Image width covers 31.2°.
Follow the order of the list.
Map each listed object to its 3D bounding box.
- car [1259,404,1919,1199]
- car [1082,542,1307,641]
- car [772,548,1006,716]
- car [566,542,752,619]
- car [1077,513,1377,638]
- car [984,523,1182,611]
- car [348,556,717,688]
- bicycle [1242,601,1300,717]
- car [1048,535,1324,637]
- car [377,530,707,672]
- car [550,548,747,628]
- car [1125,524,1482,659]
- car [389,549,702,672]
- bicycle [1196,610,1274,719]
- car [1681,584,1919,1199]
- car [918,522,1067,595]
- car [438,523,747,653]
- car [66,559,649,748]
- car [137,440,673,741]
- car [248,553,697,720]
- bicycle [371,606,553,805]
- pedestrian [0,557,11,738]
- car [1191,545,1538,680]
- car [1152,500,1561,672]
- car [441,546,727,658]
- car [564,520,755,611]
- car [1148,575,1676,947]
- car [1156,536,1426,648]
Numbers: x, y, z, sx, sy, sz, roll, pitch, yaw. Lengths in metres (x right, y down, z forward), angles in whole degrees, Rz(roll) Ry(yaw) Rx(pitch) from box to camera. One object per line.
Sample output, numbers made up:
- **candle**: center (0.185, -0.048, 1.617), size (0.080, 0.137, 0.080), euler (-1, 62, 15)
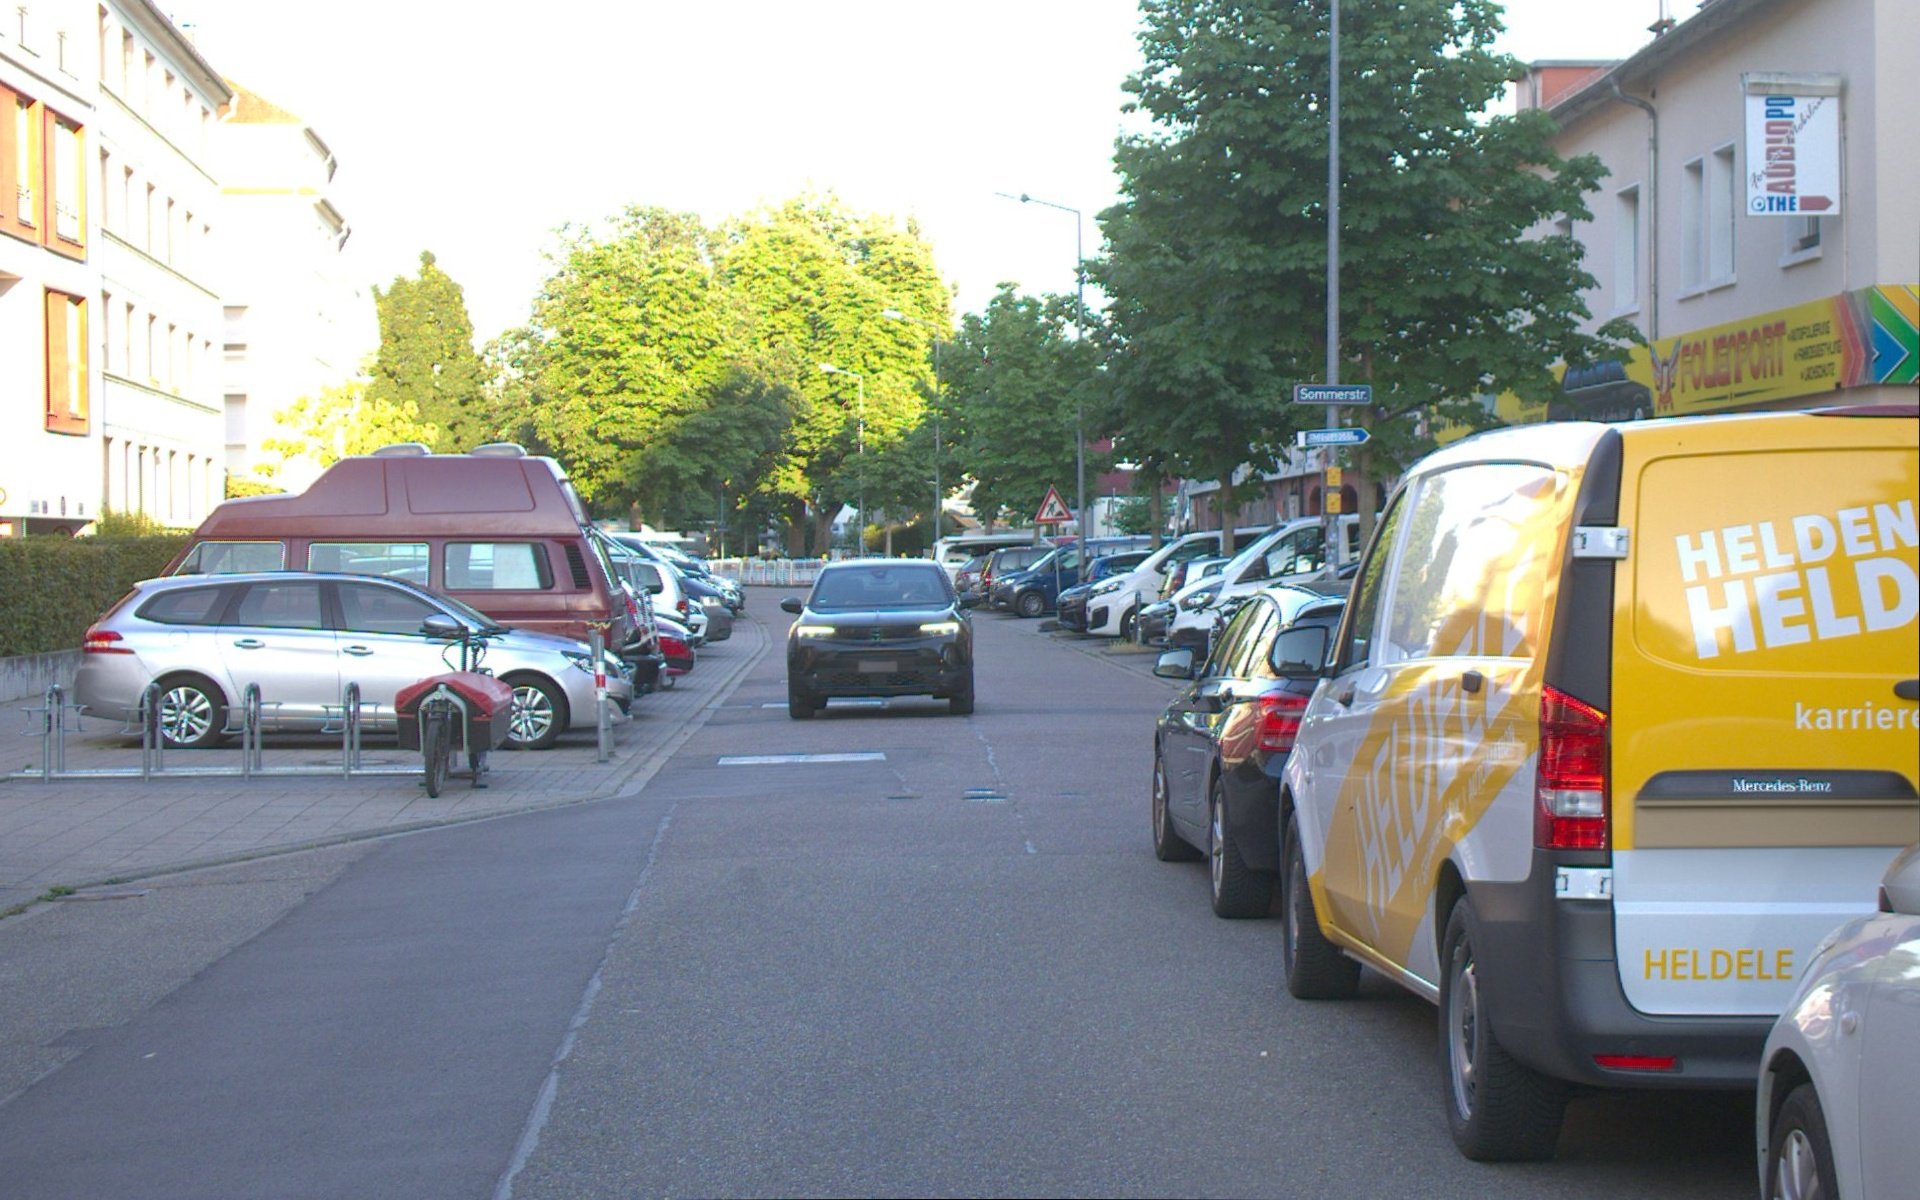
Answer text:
- **car**: center (2.127, 0.479, 10.059), size (1.893, 1.877, 5.082), euler (0, 1, -2)
- **car**: center (4.750, -0.181, 69.954), size (4.316, 1.798, 1.811), euler (-2, 1, -3)
- **car**: center (-0.640, 0.272, 34.088), size (1.780, 1.512, 3.999), euler (-2, 1, 6)
- **car**: center (-7.160, -0.483, 82.085), size (4.256, 1.743, 2.000), euler (1, 1, -1)
- **car**: center (4.631, -0.436, 60.099), size (4.943, 1.951, 2.049), euler (-2, 1, -3)
- **car**: center (2.931, -0.785, 82.500), size (4.478, 1.905, 1.688), euler (-2, 1, -6)
- **car**: center (-5.100, 0.250, 41.441), size (4.209, 1.484, 1.850), euler (1, 1, -1)
- **bicycle**: center (3.425, 0.635, 37.982), size (0.386, 1.196, 2.017), euler (-2, 1, -1)
- **car**: center (4.245, -0.270, 65.039), size (4.943, 1.683, 2.077), euler (-2, 1, -3)
- **car**: center (-5.651, -0.004, 46.852), size (4.256, 1.830, 2.000), euler (1, 1, -1)
- **car**: center (-6.983, -0.287, 77.316), size (4.256, 1.709, 2.000), euler (1, 1, -1)
- **car**: center (4.971, -0.134, 50.285), size (4.944, 1.736, 2.049), euler (-2, 1, 0)
- **car**: center (-5.901, 0.138, 49.323), size (4.256, 1.654, 2.000), euler (1, 1, -1)
- **bicycle**: center (3.012, 0.690, 37.791), size (0.438, 1.126, 2.018), euler (-2, 1, -7)
- **car**: center (2.212, 0.735, 4.765), size (1.674, 1.472, 3.862), euler (0, 1, 1)
- **car**: center (0.908, -1.184, 98.067), size (3.967, 1.905, 2.050), euler (-2, 1, -6)
- **car**: center (-5.969, -0.204, 56.231), size (4.850, 2.014, 1.906), euler (1, 1, -1)
- **car**: center (-4.935, 0.428, 28.688), size (4.615, 1.455, 1.881), euler (1, 1, -4)
- **car**: center (-4.969, -0.094, 31.259), size (4.511, 2.575, 2.000), euler (1, 1, 0)
- **car**: center (-4.730, 0.339, 33.837), size (4.208, 1.533, 1.791), euler (1, 1, -3)
- **bicycle**: center (-3.354, 0.675, 23.414), size (0.807, 1.217, 2.865), euler (1, 1, 0)
- **pedestrian**: center (-8.330, 0.389, 28.263), size (0.832, 1.496, 0.798), euler (1, 1, -1)
- **car**: center (4.923, 0.137, 42.154), size (3.918, 1.446, 1.768), euler (-3, 1, -3)
- **car**: center (5.119, -0.195, 44.940), size (4.989, 1.976, 2.220), euler (-2, 1, -1)
- **car**: center (-5.830, 0.022, 53.680), size (4.256, 1.646, 1.888), euler (1, 1, -1)
- **car**: center (-7.374, -0.854, 84.715), size (4.533, 2.127, 2.000), euler (1, 1, -1)
- **car**: center (1.900, 0.622, 15.695), size (1.721, 1.419, 4.253), euler (1, 1, -2)
- **car**: center (5.058, -0.136, 52.920), size (3.911, 1.521, 1.939), euler (-2, 1, 0)
